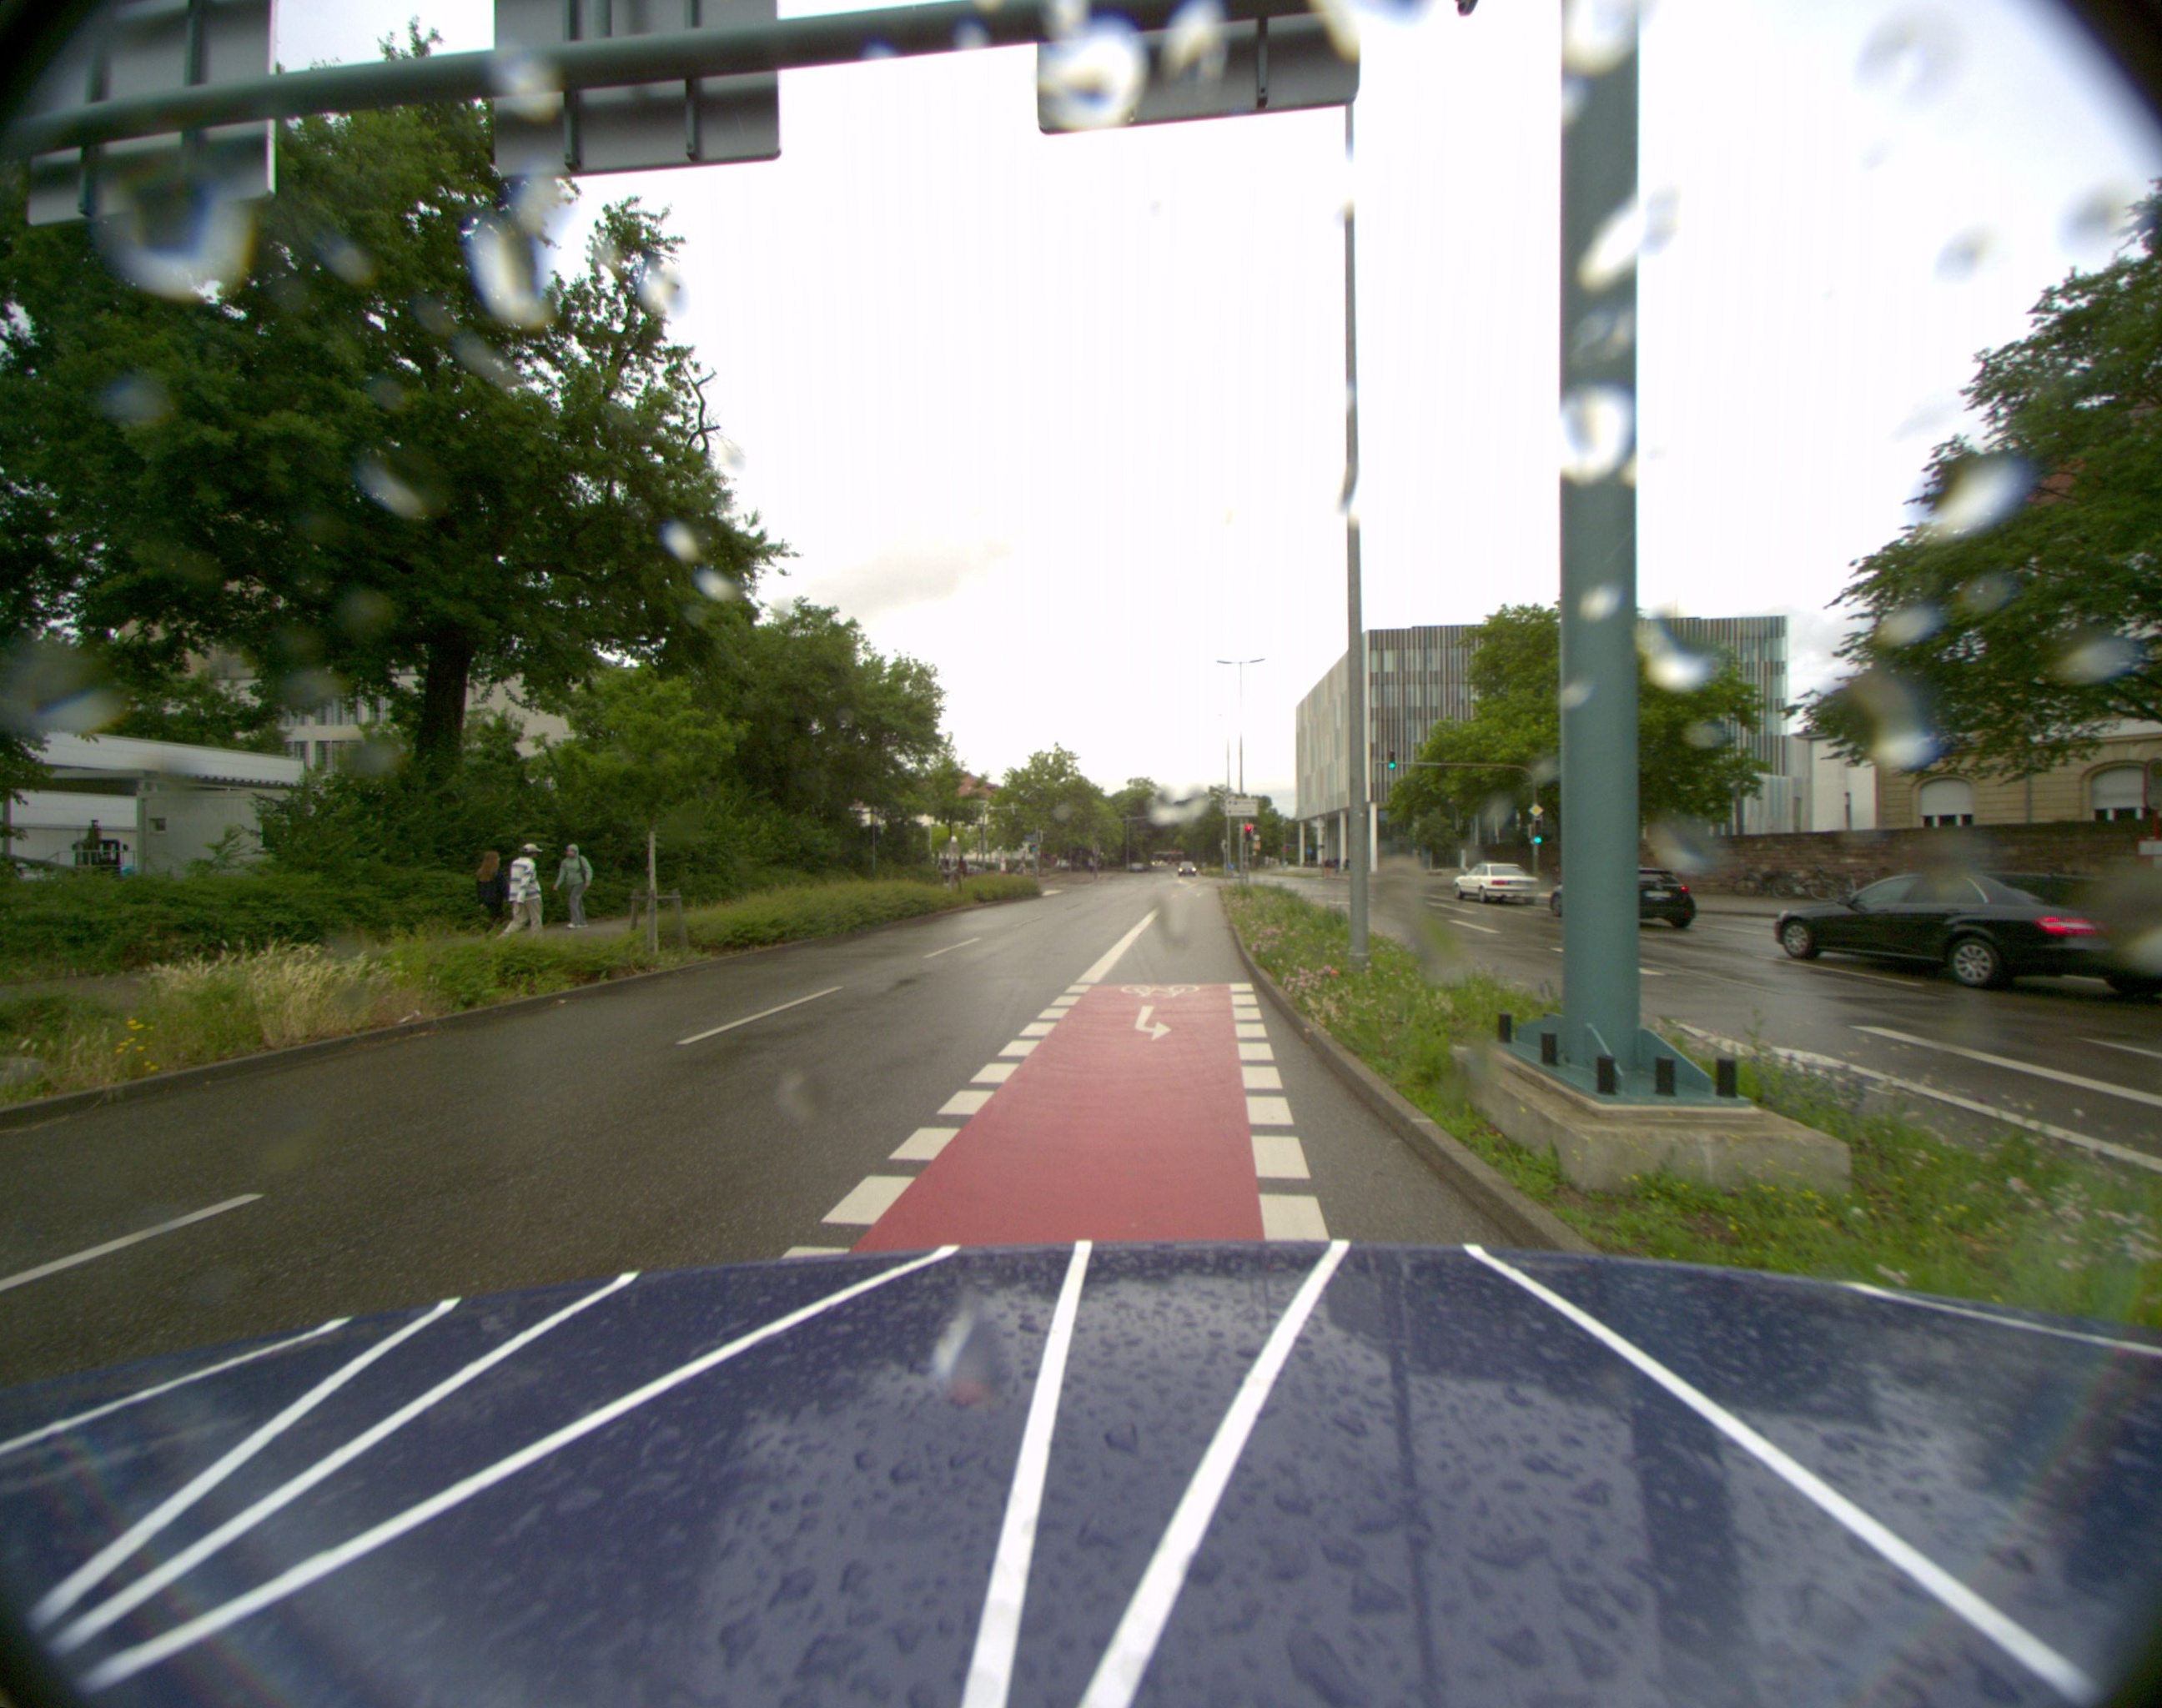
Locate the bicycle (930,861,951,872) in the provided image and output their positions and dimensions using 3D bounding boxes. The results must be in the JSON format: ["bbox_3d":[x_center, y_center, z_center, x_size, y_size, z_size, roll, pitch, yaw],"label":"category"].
[{"bbox_3d":[-15.849,1.428,85.519,2.285,1.215,0.598,0,0,-4],"label":"bicycle"}]

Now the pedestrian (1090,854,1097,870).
[{"bbox_3d":[1.369,0.866,82.837,0.624,1.813,0.786,0,0,-6],"label":"pedestrian"}]

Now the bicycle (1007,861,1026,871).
[{"bbox_3d":[-7.520,1.418,88.622,2.285,1.215,0.598,0,0,-4],"label":"bicycle"}]

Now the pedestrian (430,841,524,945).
[{"bbox_3d":[-10.189,0.665,12.846,0.934,1.693,0.830,-2,-3,13],"label":"pedestrian"}]

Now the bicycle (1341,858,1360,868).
[{"bbox_3d":[35.814,1.212,100.982,2.285,1.215,0.598,0,0,-4],"label":"bicycle"}]

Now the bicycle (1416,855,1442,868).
[{"bbox_3d":[33.225,0.677,72.599,2.285,1.215,0.598,0,0,-4],"label":"bicycle"}]

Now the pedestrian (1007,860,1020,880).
[{"bbox_3d":[-5.613,1.339,63.067,0.878,1.597,0.862,0,0,-14],"label":"pedestrian"}]

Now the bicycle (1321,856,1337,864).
[{"bbox_3d":[36.940,0.926,113.216,2.281,1.215,0.600,0,0,18],"label":"bicycle"}]

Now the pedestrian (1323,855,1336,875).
[{"bbox_3d":[23.070,0.994,70.603,0.787,1.813,0.795,0,0,-15],"label":"pedestrian"}]

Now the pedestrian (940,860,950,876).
[{"bbox_3d":[-14.537,1.474,81.305,0.850,1.728,1.121,-1,0,-24],"label":"pedestrian"}]

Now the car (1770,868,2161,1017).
[{"bbox_3d":[12.221,1.009,10.518,1.811,1.531,4.707,1,0,12],"label":"car"}]

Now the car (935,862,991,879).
[{"bbox_3d":[-9.902,1.370,63.990,4.385,1.330,1.773,-1,2,5],"label":"car"}]

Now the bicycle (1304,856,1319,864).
[{"bbox_3d":[37.745,0.975,124.289,2.281,1.215,0.600,0,0,18],"label":"bicycle"}]

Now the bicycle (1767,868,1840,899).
[{"bbox_3d":[23.796,0.957,25.071,0.733,0.977,1.701,-1,0,-2],"label":"bicycle"}]

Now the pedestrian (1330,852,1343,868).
[{"bbox_3d":[28.561,0.694,84.940,0.940,1.813,0.922,0,0,-22],"label":"pedestrian"}]

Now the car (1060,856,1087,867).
[{"bbox_3d":[-1.222,1.216,127.645,4.423,1.861,1.638,0,0,0],"label":"car"}]

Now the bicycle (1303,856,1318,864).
[{"bbox_3d":[37.825,0.979,125.171,2.281,1.215,0.600,0,0,18],"label":"bicycle"}]

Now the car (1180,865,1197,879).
[{"bbox_3d":[11.145,1.842,79.237,1.659,1.356,4.109,0,0,7],"label":"car"}]

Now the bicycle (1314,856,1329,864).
[{"bbox_3d":[38.387,0.956,121.264,2.281,1.215,0.600,0,0,18],"label":"bicycle"}]

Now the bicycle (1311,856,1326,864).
[{"bbox_3d":[38.398,0.964,122.838,2.281,1.215,0.600,0,0,18],"label":"bicycle"}]

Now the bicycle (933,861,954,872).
[{"bbox_3d":[-15.559,1.418,86.293,2.285,1.215,0.598,0,0,-4],"label":"bicycle"}]

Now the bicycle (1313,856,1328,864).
[{"bbox_3d":[38.007,0.955,120.604,2.281,1.215,0.600,0,0,18],"label":"bicycle"}]

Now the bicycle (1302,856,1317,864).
[{"bbox_3d":[38.391,0.987,127.621,2.281,1.215,0.600,0,0,18],"label":"bicycle"}]

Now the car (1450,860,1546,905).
[{"bbox_3d":[14.985,0.968,27.575,1.598,1.407,4.527,1,0,9],"label":"car"}]

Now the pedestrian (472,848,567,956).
[{"bbox_3d":[-9.239,0.792,12.529,0.934,1.710,0.830,-2,-3,13],"label":"pedestrian"}]

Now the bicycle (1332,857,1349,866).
[{"bbox_3d":[36.645,1.082,107.192,2.281,1.215,0.600,0,0,18],"label":"bicycle"}]

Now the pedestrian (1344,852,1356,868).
[{"bbox_3d":[29.967,0.684,84.588,0.940,1.813,0.922,0,0,-15],"label":"pedestrian"}]

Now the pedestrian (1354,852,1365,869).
[{"bbox_3d":[29.758,0.653,81.189,0.787,1.813,0.624,0,0,-15],"label":"pedestrian"}]

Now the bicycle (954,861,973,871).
[{"bbox_3d":[-14.151,1.473,91.505,2.285,1.215,0.598,0,0,-4],"label":"bicycle"}]

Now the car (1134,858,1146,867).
[{"bbox_3d":[8.763,1.293,112.544,1.659,1.258,4.109,0,0,7],"label":"car"}]

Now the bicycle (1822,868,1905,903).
[{"bbox_3d":[23.999,0.947,23.346,0.733,0.977,1.701,-1,0,-2],"label":"bicycle"}]

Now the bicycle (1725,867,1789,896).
[{"bbox_3d":[24.067,0.965,27.078,0.733,0.977,1.701,-1,0,-2],"label":"bicycle"}]

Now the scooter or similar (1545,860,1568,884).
[{"bbox_3d":[24.227,0.915,38.748,0.391,1.191,1.142,-7,0,4],"label":"scooter or similar"}]

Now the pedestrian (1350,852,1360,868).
[{"bbox_3d":[29.962,0.658,83.158,0.787,1.813,0.624,0,0,-15],"label":"pedestrian"}]

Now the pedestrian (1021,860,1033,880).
[{"bbox_3d":[-4.487,1.332,62.967,0.878,1.597,0.862,0,0,-14],"label":"pedestrian"}]

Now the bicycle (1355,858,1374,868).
[{"bbox_3d":[36.506,1.192,97.739,2.285,1.215,0.598,0,0,-4],"label":"bicycle"}]

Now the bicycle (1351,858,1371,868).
[{"bbox_3d":[36.262,1.196,98.393,2.285,1.215,0.598,0,0,-4],"label":"bicycle"}]

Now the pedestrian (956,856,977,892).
[{"bbox_3d":[-5.822,1.004,38.630,0.730,1.848,0.851,0,0,15],"label":"pedestrian"}]

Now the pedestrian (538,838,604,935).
[{"bbox_3d":[-10.853,0.674,16.199,0.791,2.002,0.830,0,0,15],"label":"pedestrian"}]

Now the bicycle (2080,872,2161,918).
[{"bbox_3d":[24.058,0.916,17.161,0.733,0.977,1.701,-1,0,-2],"label":"bicycle"}]

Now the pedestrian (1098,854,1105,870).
[{"bbox_3d":[2.246,0.885,83.004,0.625,1.813,0.786,0,0,-14],"label":"pedestrian"}]

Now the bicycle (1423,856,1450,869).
[{"bbox_3d":[33.496,0.774,71.569,2.285,1.215,0.598,0,0,-4],"label":"bicycle"}]

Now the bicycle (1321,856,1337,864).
[{"bbox_3d":[36.694,0.924,112.415,2.281,1.215,0.600,0,0,18],"label":"bicycle"}]

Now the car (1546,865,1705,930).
[{"bbox_3d":[13.609,1.011,19.299,1.626,1.407,4.069,1,0,9],"label":"car"}]
